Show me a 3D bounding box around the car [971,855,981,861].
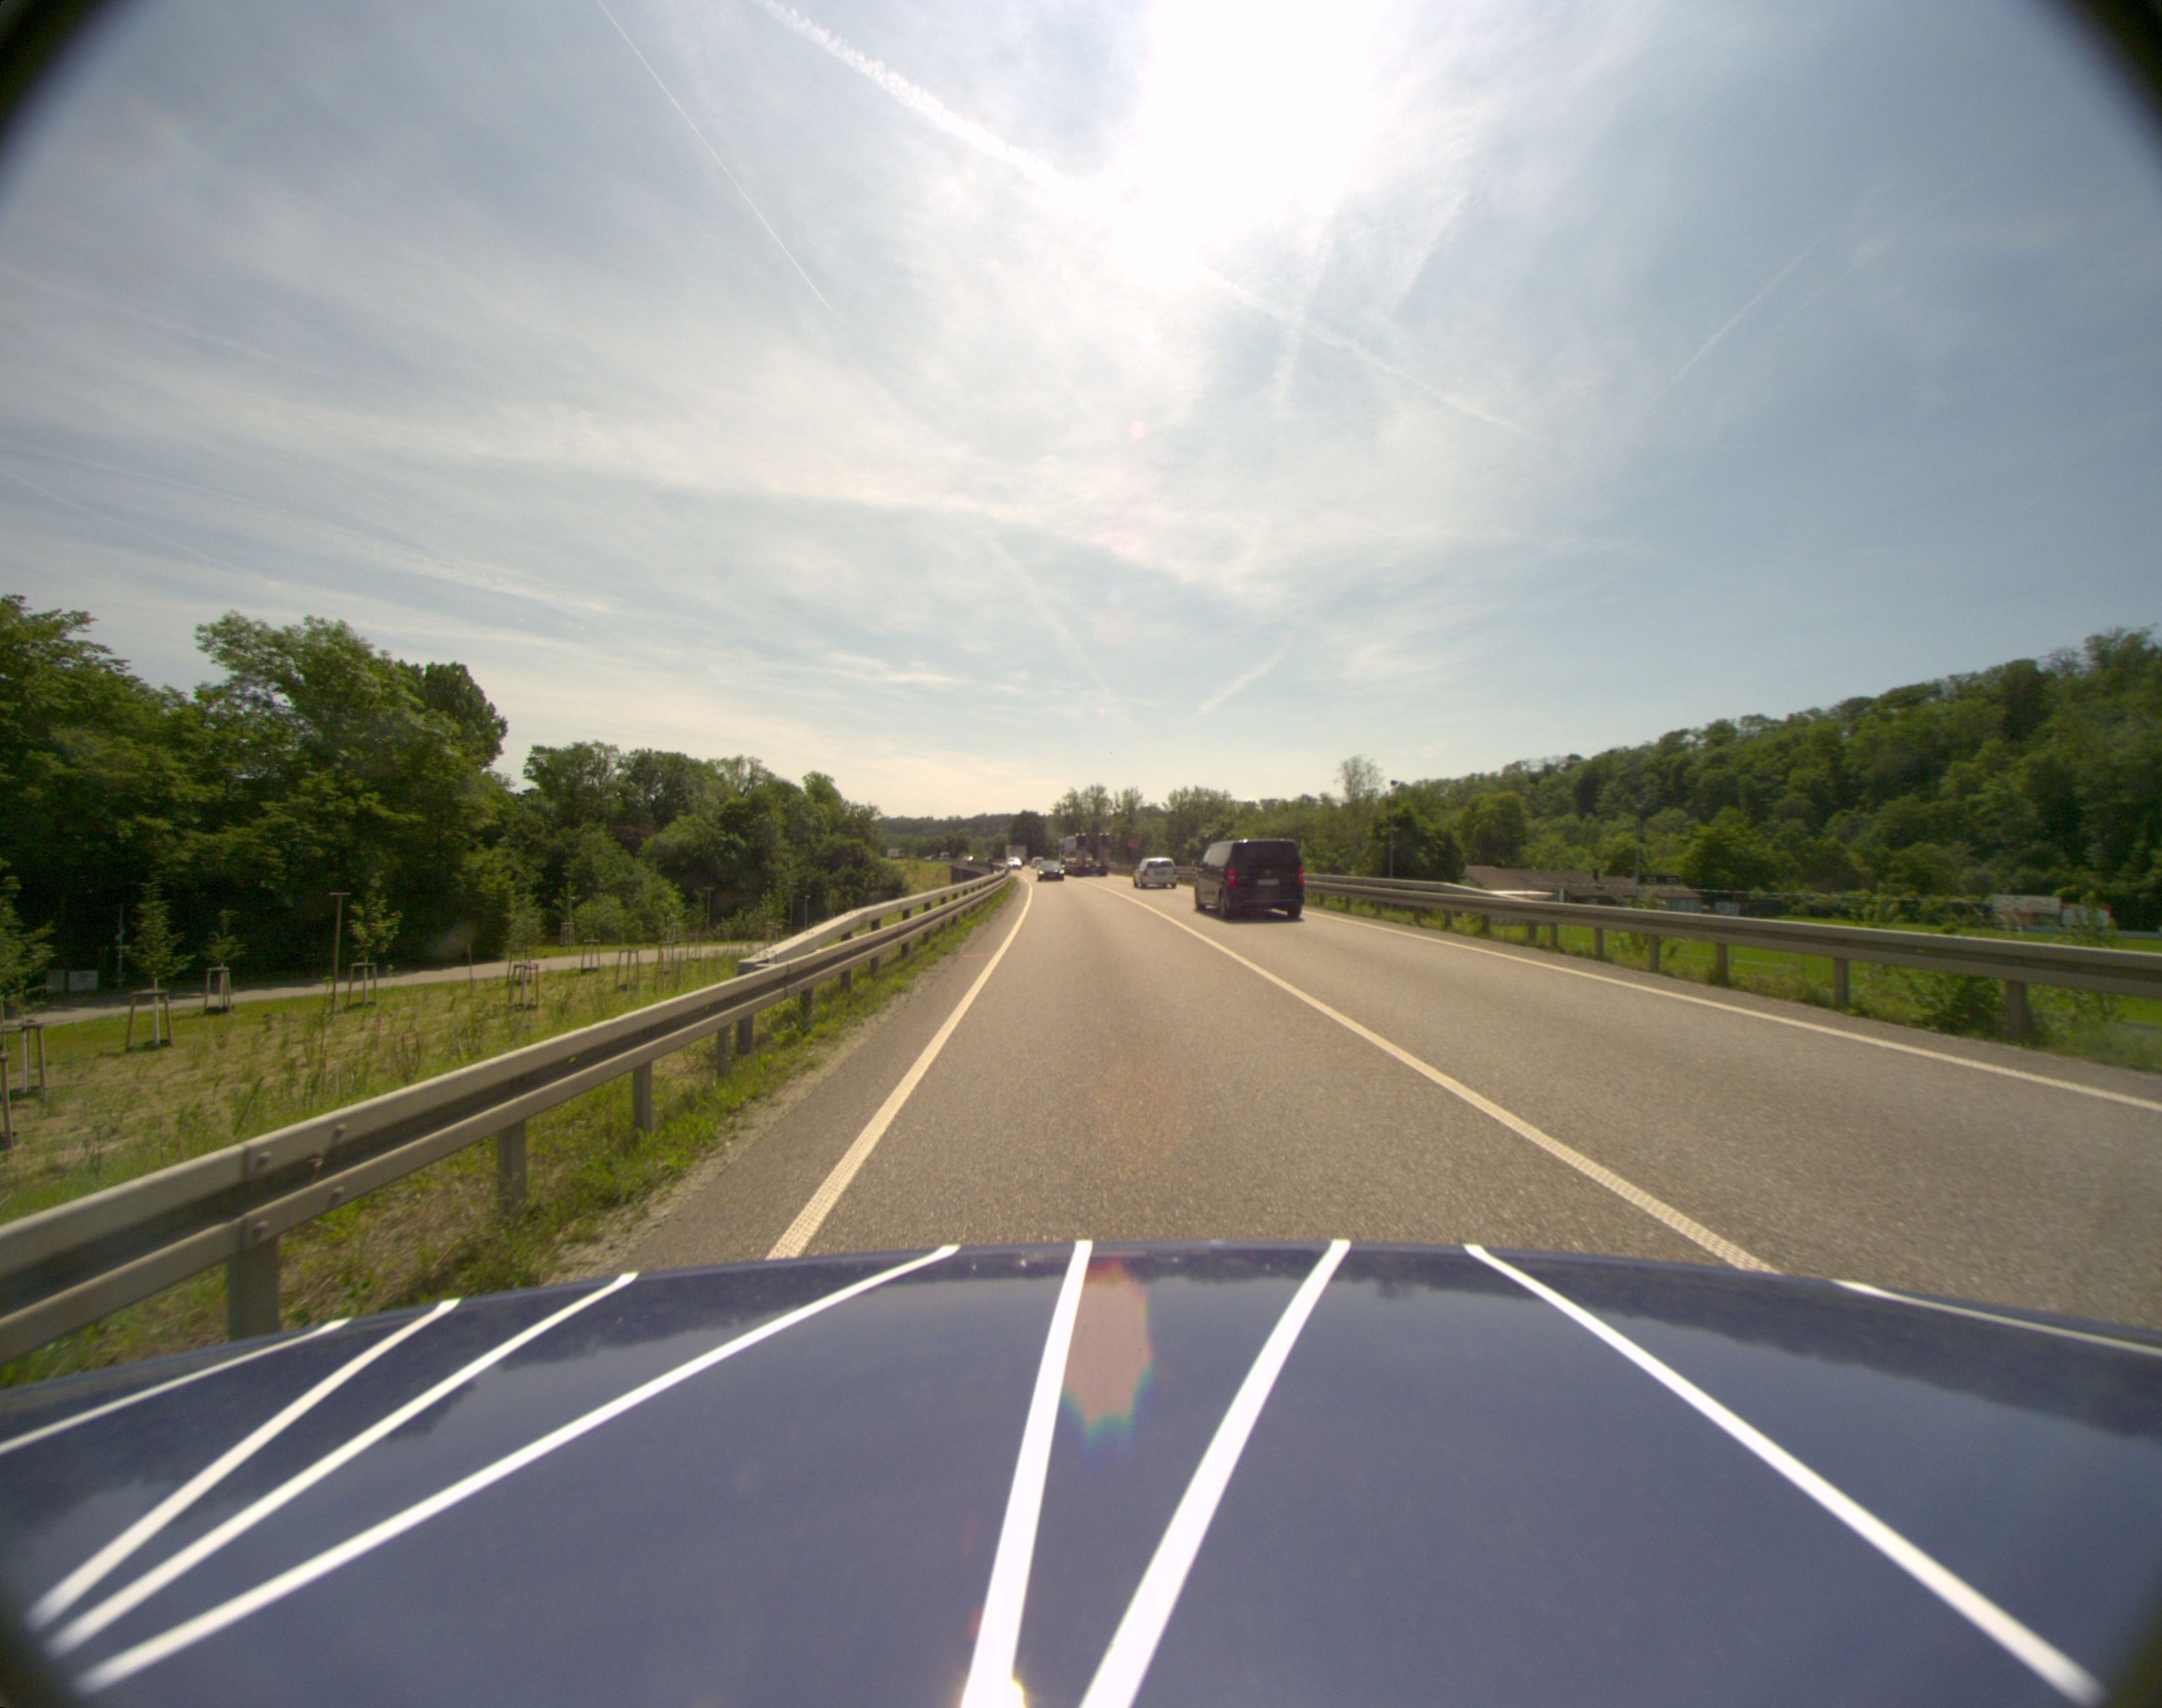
[{"bbox_3d":[-26.871,1.025,193.635,1.727,1.427,4.610,-2,0,-17],"label":"car"}]

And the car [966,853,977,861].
[{"bbox_3d":[-24.531,0.729,170.236,1.983,1.722,3.995,-1,0,-14],"label":"car"}]

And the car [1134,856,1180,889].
[{"bbox_3d":[3.677,0.864,37.384,1.773,1.485,4.169,-1,0,-1],"label":"car"}]

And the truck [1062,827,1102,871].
[{"bbox_3d":[0.014,-0.481,72.384,3.128,3.934,6.618,-1,0,-5],"label":"truck"}]

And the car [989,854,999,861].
[{"bbox_3d":[-19.553,0.742,170.497,1.727,1.474,4.564,-2,0,-14],"label":"car"}]

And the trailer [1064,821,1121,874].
[{"bbox_3d":[0.698,-0.485,65.015,3.128,3.956,15.348,-1,0,-5],"label":"trailer"}]

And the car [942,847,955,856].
[{"bbox_3d":[-39.105,-0.629,224.684,2.189,2.545,5.784,-2,2,-26],"label":"car"}]

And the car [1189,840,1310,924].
[{"bbox_3d":[4.193,0.637,19.825,1.927,1.849,5.175,-1,0,-1],"label":"car"}]

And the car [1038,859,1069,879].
[{"bbox_3d":[-1.973,1.027,53.537,1.981,1.333,3.998,-1,0,-5],"label":"car"}]

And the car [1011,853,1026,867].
[{"bbox_3d":[-8.584,0.853,103.882,1.981,1.779,3.997,-2,1,-6],"label":"car"}]

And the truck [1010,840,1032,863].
[{"bbox_3d":[-10.746,-0.413,134.645,2.924,3.781,9.699,-1,0,-10],"label":"truck"}]

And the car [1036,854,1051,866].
[{"bbox_3d":[-5.530,0.870,111.790,1.763,1.503,3.996,-2,1,-8],"label":"car"}]

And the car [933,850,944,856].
[{"bbox_3d":[-44.358,-0.306,236.601,1.861,1.788,4.965,-2,2,-30],"label":"car"}]
